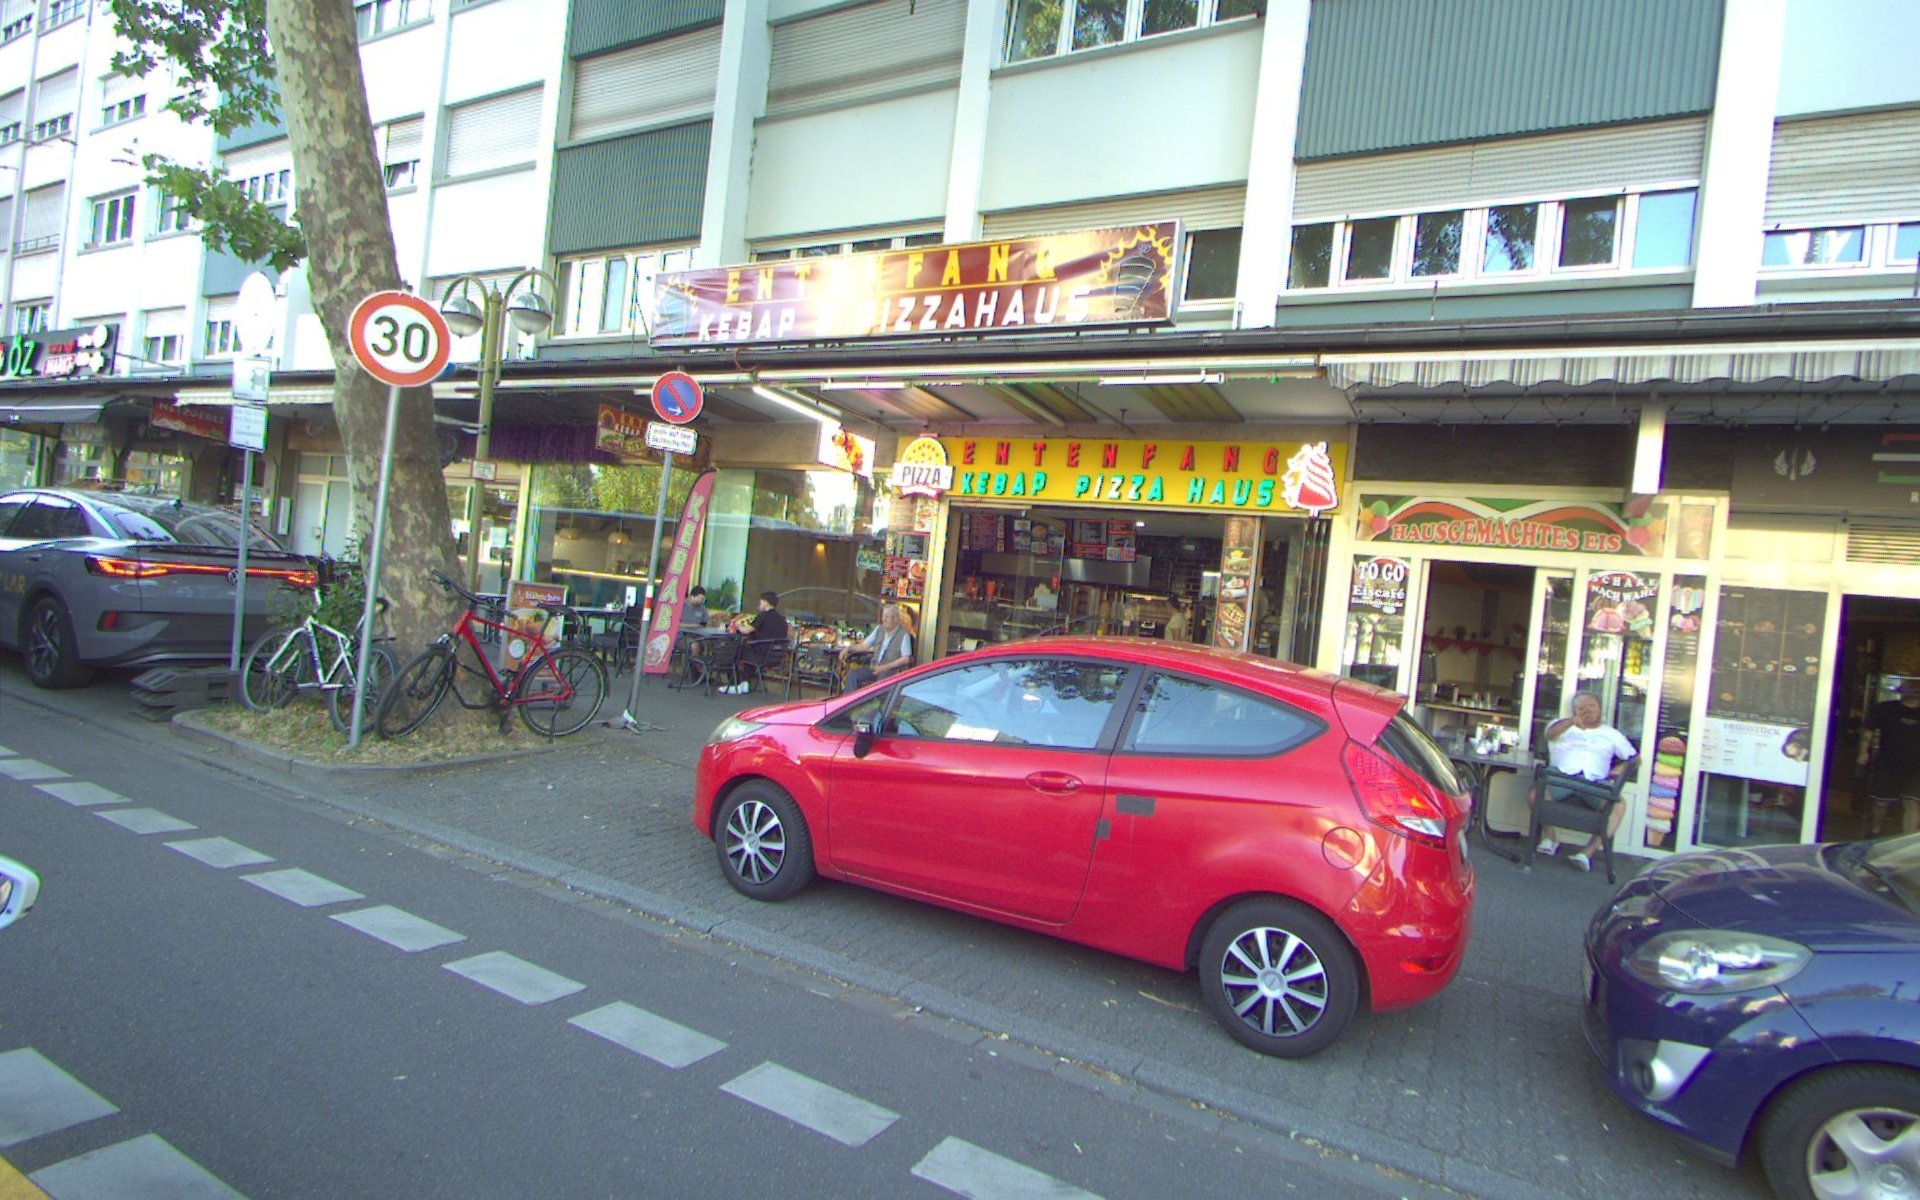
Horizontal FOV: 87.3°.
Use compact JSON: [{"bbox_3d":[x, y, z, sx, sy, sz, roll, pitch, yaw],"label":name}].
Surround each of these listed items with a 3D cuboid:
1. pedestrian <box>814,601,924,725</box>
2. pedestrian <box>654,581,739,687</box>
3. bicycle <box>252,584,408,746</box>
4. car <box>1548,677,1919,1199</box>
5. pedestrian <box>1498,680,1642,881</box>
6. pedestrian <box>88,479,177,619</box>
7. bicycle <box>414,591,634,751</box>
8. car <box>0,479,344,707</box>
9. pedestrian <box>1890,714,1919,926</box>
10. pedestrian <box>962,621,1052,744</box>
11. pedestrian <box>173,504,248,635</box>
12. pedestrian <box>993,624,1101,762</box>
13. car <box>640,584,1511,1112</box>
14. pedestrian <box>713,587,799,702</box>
[{"bbox_3d":[-0.981,0.666,10.873,0.861,1.237,0.688,2,3,-44],"label":"pedestrian"},{"bbox_3d":[-3.238,0.410,12.368,0.694,1.220,0.675,7,3,42],"label":"pedestrian"},{"bbox_3d":[-4.447,0.433,7.087,1.110,0.941,0.295,9,6,21],"label":"bicycle"},{"bbox_3d":[3.872,1.233,2.919,3.543,1.486,1.620,7,2,29],"label":"car"},{"bbox_3d":[4.634,1.302,7.629,0.767,1.249,1.202,6,3,33],"label":"pedestrian"},{"bbox_3d":[-12.689,-0.769,15.438,0.684,2.039,0.692,7,1,27],"label":"pedestrian"},{"bbox_3d":[-3.236,0.512,7.565,0.291,1.082,1.455,12,7,42],"label":"bicycle"},{"bbox_3d":[-7.844,-0.197,9.220,4.223,1.619,1.742,7,2,27],"label":"car"},{"bbox_3d":[6.682,1.269,6.563,0.579,1.759,0.596,8,3,29],"label":"pedestrian"},{"bbox_3d":[0.490,0.829,10.388,0.585,1.172,0.671,6,3,31],"label":"pedestrian"},{"bbox_3d":[-12.297,-0.492,16.513,0.684,2.039,0.613,7,1,29],"label":"pedestrian"},{"bbox_3d":[0.817,0.842,9.426,0.740,1.172,0.593,6,3,33],"label":"pedestrian"},{"bbox_3d":[0.474,0.855,5.001,3.780,1.448,1.668,7,2,27],"label":"car"},{"bbox_3d":[-2.392,0.513,11.805,0.701,1.260,0.614,7,3,41],"label":"pedestrian"}]
